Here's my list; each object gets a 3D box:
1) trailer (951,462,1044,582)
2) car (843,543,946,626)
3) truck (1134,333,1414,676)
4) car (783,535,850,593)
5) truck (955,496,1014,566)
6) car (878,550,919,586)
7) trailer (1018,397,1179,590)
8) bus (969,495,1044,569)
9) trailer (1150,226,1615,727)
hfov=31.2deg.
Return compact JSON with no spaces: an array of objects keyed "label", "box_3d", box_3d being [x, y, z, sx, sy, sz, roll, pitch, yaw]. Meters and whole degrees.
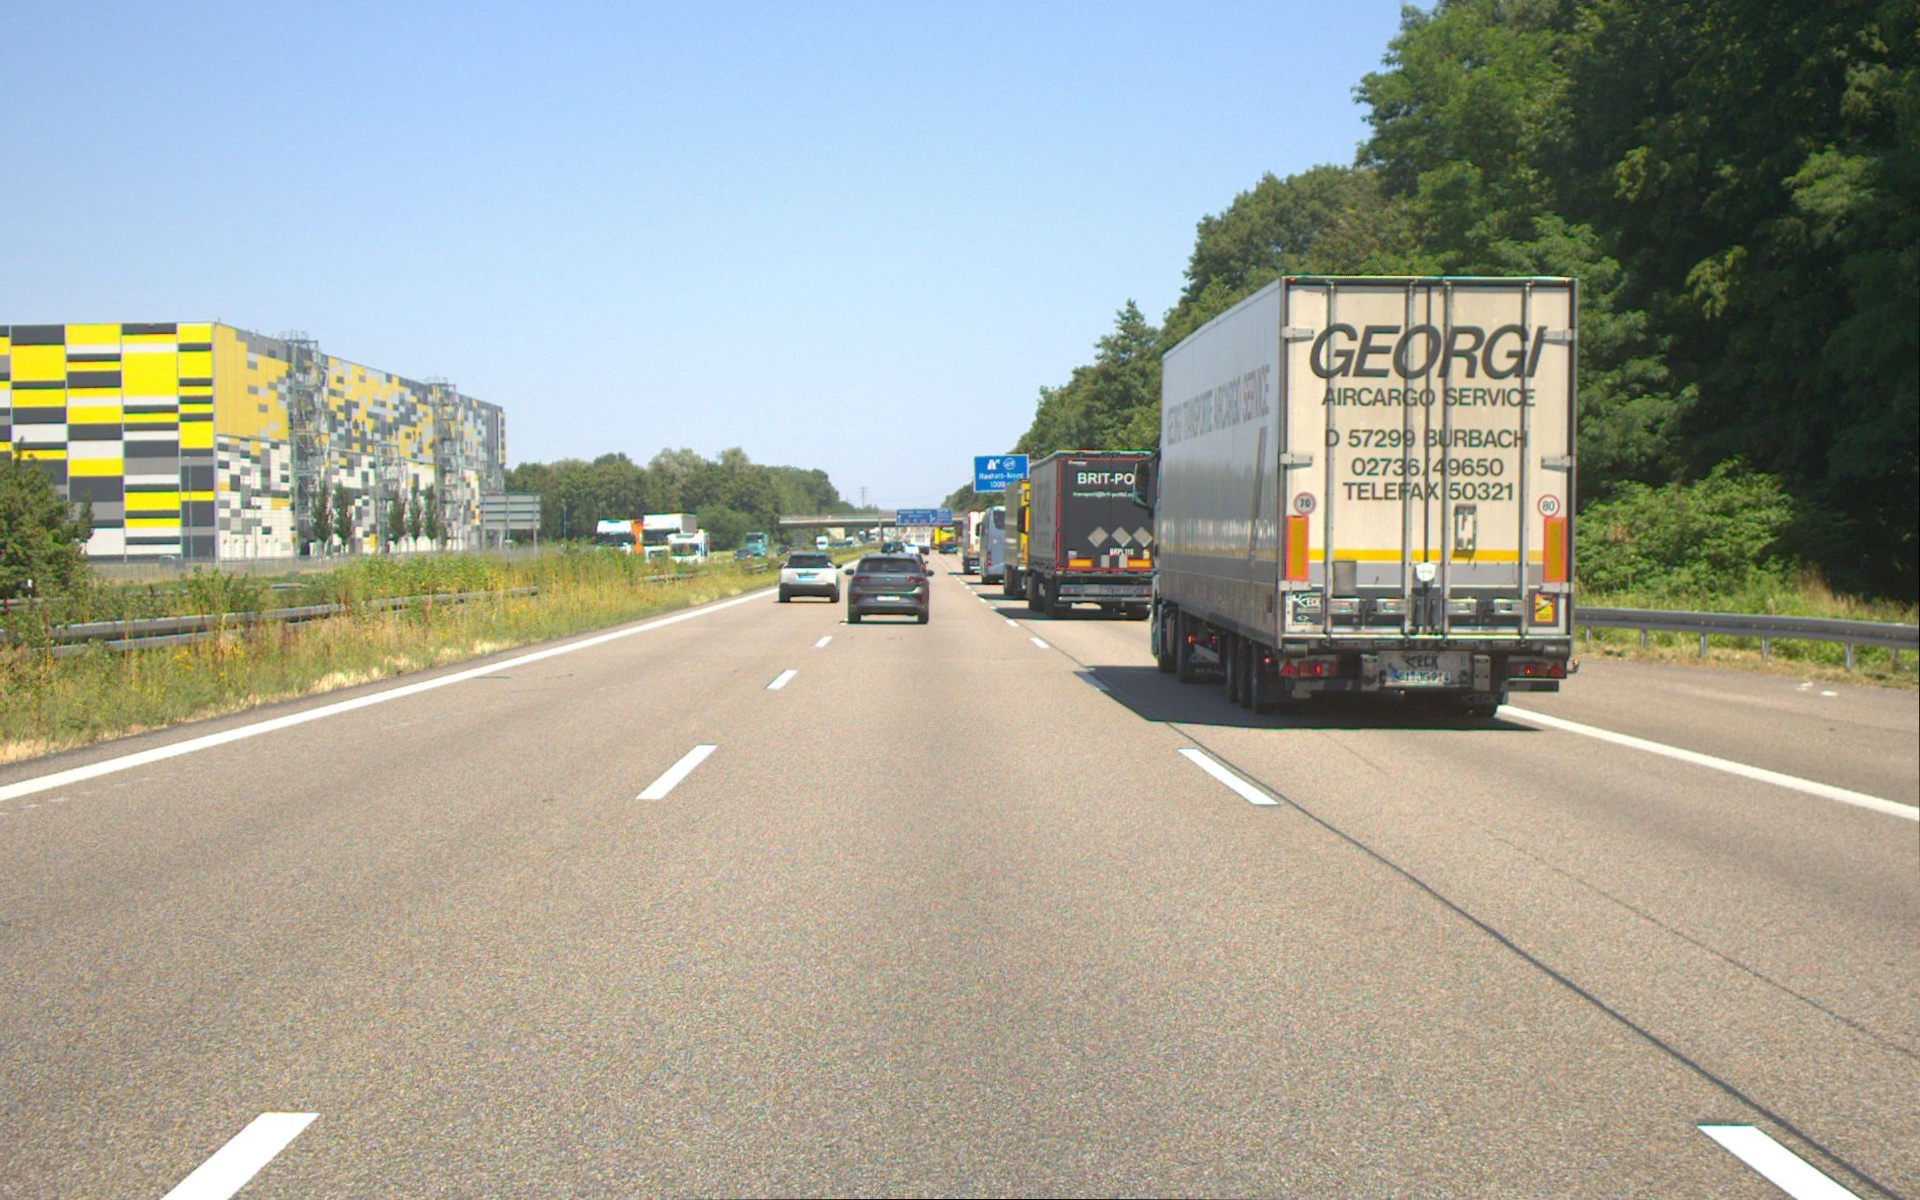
[{"label":"trailer","box_3d":[1.195,-2.664,118.214,2.834,3.940,11.685,0,1,-1]},{"label":"car","box_3d":[-1.464,-0.381,77.135,2.216,1.784,5.394,-1,1,-1]},{"label":"truck","box_3d":[3.915,-1.177,44.061,3.002,4.110,5.253,0,1,-1]},{"label":"car","box_3d":[-4.365,-1.110,105.273,1.993,1.722,4.131,0,1,-2]},{"label":"truck","box_3d":[1.462,-4.219,210.473,3.422,4.112,9.565,-1,1,0]},{"label":"car","box_3d":[-2.920,-1.541,163.510,1.941,1.700,4.000,0,1,-1]},{"label":"trailer","box_3d":[3.365,-2.592,87.903,3.106,4.491,14.897,1,1,-1]},{"label":"bus","box_3d":[2.133,-3.193,161.765,3.062,3.315,8.275,-1,1,-2]},{"label":"trailer","box_3d":[4.017,-1.164,36.368,2.993,4.274,13.419,1,1,-1]}]
